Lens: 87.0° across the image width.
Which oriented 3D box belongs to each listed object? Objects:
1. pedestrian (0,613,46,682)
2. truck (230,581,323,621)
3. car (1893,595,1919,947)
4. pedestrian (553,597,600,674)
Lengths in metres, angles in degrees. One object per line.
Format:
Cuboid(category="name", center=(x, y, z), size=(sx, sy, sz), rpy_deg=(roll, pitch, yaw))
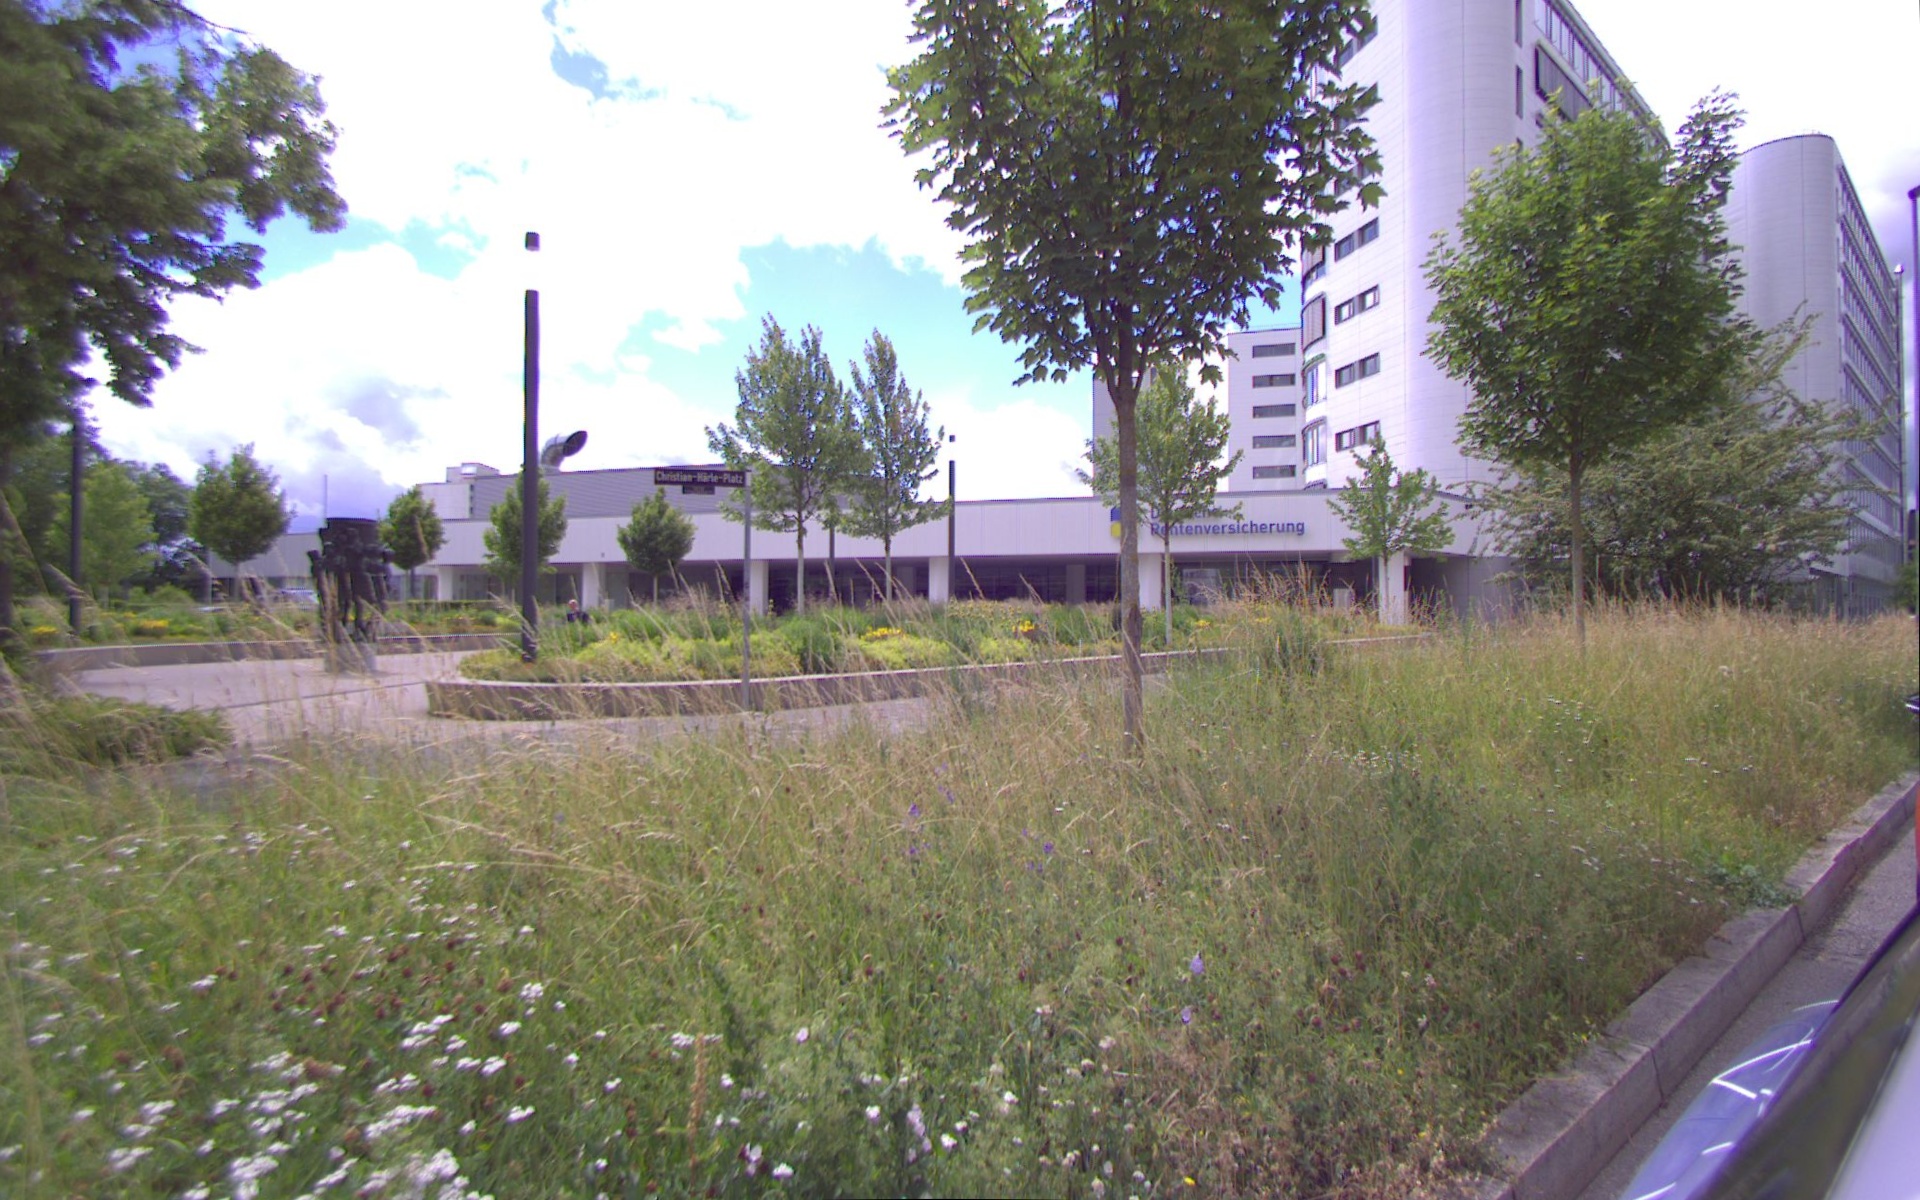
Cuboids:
Cuboid(category="pedestrian", center=(-17.380, 0.857, 18.713), size=(0.621, 1.238, 0.620), rpy_deg=(1, 0, -36))
Cuboid(category="truck", center=(-36.156, 0.054, 53.569), size=(3.941, 2.039, 1.991), rpy_deg=(1, 0, 14))
Cuboid(category="car", center=(5.815, 0.730, 4.706), size=(3.611, 1.434, 1.748), rpy_deg=(0, 1, -41))
Cuboid(category="pedestrian", center=(-8.402, 0.762, 22.169), size=(0.758, 1.646, 0.763), rpy_deg=(1, -1, -40))
